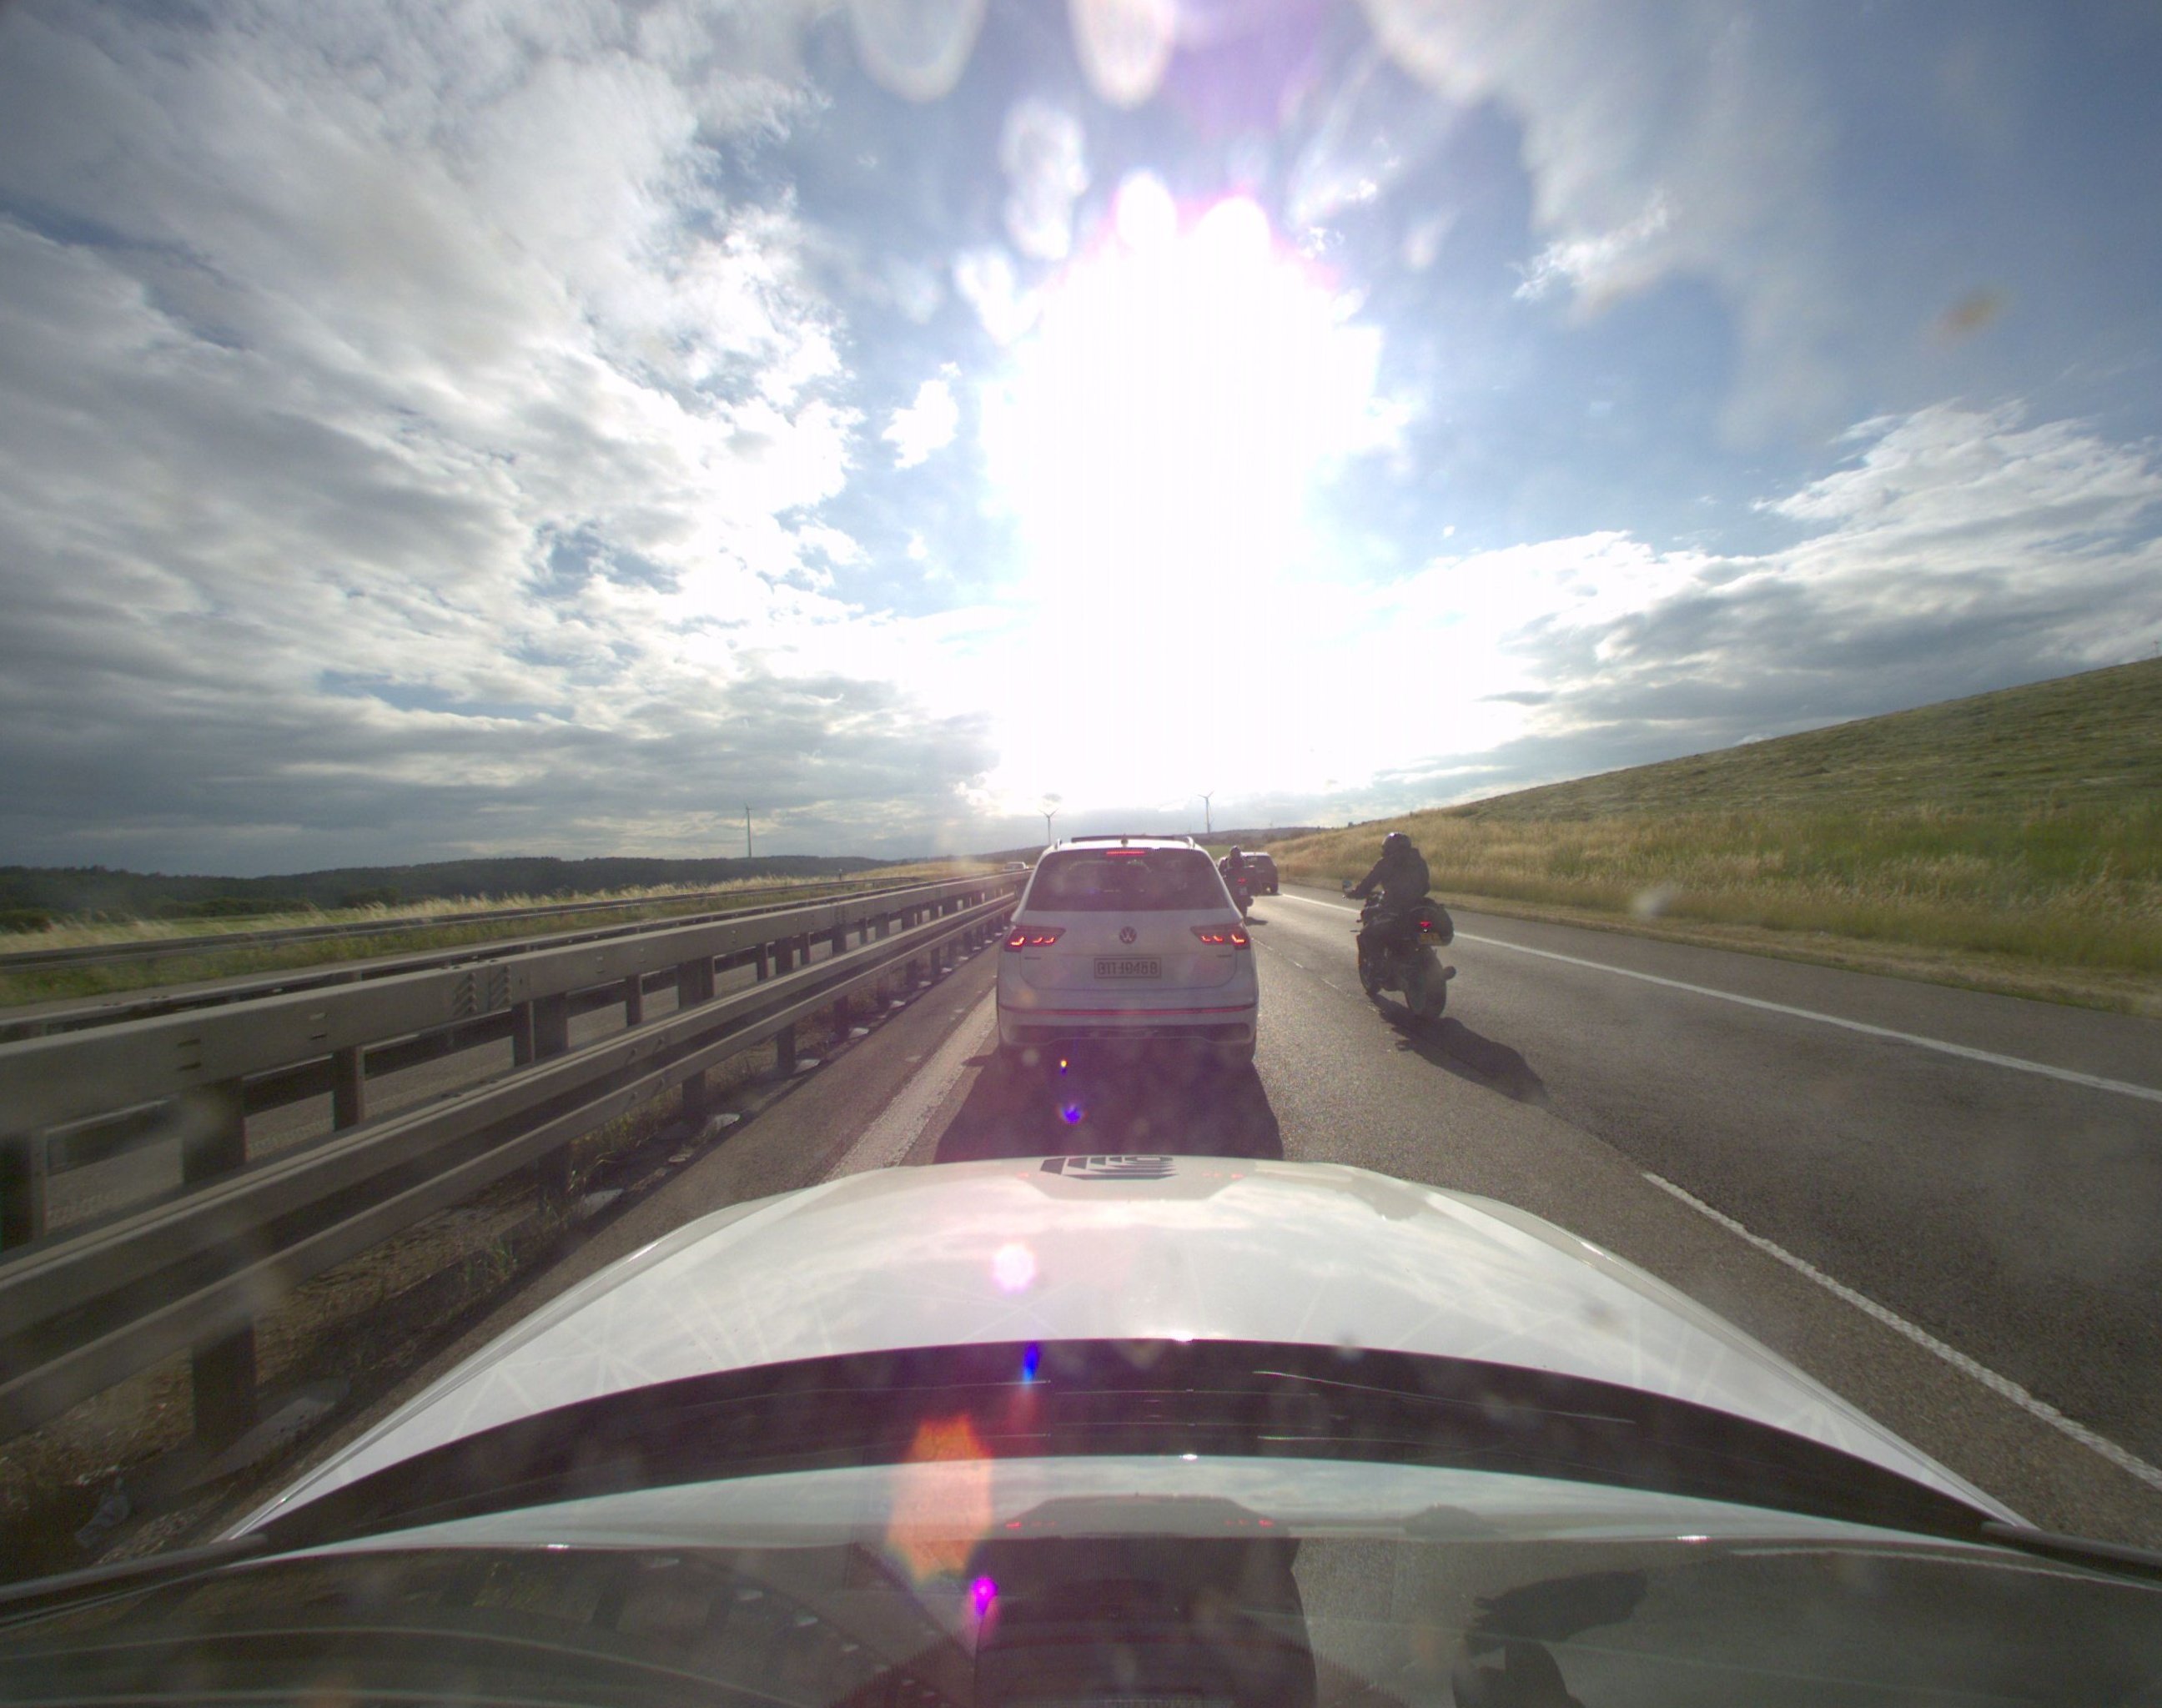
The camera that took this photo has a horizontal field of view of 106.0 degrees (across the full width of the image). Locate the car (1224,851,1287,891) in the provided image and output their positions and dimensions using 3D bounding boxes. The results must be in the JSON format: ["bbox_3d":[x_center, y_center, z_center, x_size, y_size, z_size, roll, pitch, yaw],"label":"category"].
[{"bbox_3d":[7.280,0.697,34.368,1.815,1.601,4.235,0,-1,1],"label":"car"}]

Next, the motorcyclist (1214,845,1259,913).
[{"bbox_3d":[3.819,0.599,20.055,0.892,1.617,1.022,-1,-1,1],"label":"motorcyclist"}]

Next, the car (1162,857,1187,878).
[{"bbox_3d":[7.644,1.102,66.789,1.697,1.650,4.001,-1,-1,2],"label":"car"}]

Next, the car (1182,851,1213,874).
[{"bbox_3d":[8.212,0.592,57.662,1.697,1.546,4.001,-1,-1,2],"label":"car"}]

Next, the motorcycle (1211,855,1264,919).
[{"bbox_3d":[3.828,0.775,20.071,0.892,1.455,2.270,-1,-1,1],"label":"motorcycle"}]

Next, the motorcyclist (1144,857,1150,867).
[{"bbox_3d":[9.642,1.167,119.183,0.846,1.560,0.934,-1,-1,1],"label":"motorcyclist"}]

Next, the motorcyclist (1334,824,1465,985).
[{"bbox_3d":[3.044,0.464,7.875,0.892,1.456,0.892,-1,-1,1],"label":"motorcyclist"}]

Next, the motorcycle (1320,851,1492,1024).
[{"bbox_3d":[3.057,0.720,7.925,0.892,1.455,1.983,-1,-1,1],"label":"motorcycle"}]

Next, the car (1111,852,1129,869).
[{"bbox_3d":[3.828,0.655,80.063,1.697,1.650,4.001,-1,-1,2],"label":"car"}]

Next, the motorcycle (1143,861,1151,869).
[{"bbox_3d":[9.650,1.578,119.223,0.892,1.190,2.257,-1,-1,1],"label":"motorcycle"}]

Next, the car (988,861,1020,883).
[{"bbox_3d":[-5.512,1.290,58.625,1.726,1.485,4.001,-1,-1,2],"label":"car"}]

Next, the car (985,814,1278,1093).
[{"bbox_3d":[0.371,0.628,7.002,1.763,1.675,4.001,-1,-1,2],"label":"car"}]

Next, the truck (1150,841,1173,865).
[{"bbox_3d":[12.674,-0.193,128.274,3.170,3.594,11.142,-1,0,4],"label":"truck"}]

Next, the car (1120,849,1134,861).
[{"bbox_3d":[6.214,0.174,110.101,1.697,1.546,4.001,-1,-1,2],"label":"car"}]
